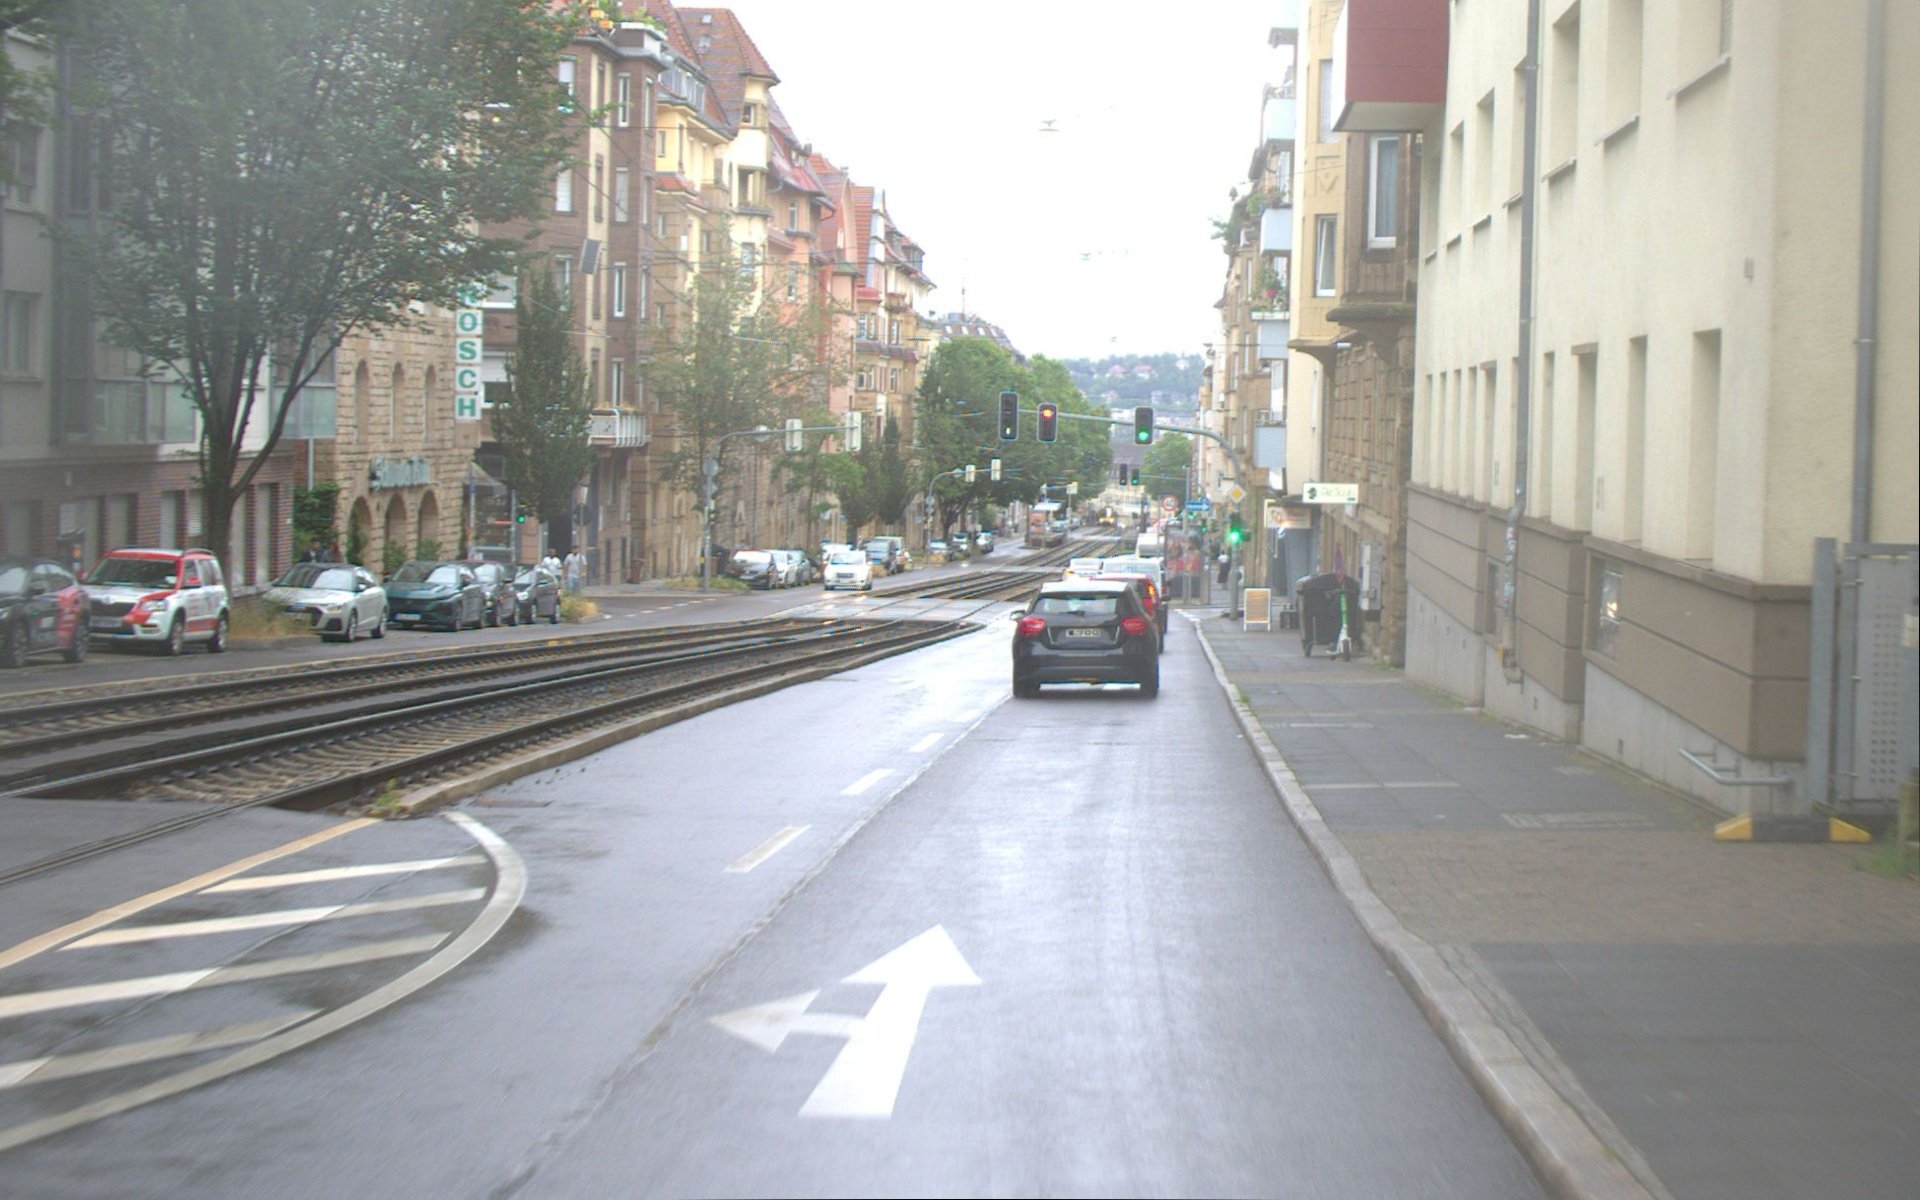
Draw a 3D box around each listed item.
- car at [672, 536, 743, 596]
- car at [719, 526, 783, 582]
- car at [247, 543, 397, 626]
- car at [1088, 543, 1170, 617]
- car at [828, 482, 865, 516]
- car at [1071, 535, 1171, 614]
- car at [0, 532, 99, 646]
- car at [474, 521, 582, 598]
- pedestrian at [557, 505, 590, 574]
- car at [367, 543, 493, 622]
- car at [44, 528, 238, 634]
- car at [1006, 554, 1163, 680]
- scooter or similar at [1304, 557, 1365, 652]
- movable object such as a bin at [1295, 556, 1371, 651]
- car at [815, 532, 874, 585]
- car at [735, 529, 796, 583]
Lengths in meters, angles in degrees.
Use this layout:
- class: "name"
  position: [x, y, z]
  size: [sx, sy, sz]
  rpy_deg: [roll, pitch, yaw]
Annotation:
- class: "car"
  position: [-8.710, -1.168, 118.985]
  size: [1.993, 2.007, 4.346]
  rpy_deg: [0, 0, 2]
- class: "car"
  position: [-7.824, -1.705, 128.977]
  size: [1.993, 2.007, 4.346]
  rpy_deg: [0, 0, 2]
- class: "car"
  position: [-11.874, -0.287, 64.221]
  size: [1.773, 1.483, 4.255]
  rpy_deg: [-1, 0, 3]
- class: "car"
  position: [4.293, -0.490, 87.801]
  size: [1.948, 1.787, 4.144]
  rpy_deg: [2, 0, 1]
- class: "car"
  position: [-6.967, -6.192, 211.882]
  size: [1.993, 2.007, 4.000]
  rpy_deg: [1, 1, 2]
- class: "car"
  position: [3.160, -0.488, 68.185]
  size: [1.852, 1.468, 4.000]
  rpy_deg: [2, 0, 1]
- class: "car"
  position: [-12.919, -0.137, 45.568]
  size: [1.773, 1.448, 4.255]
  rpy_deg: [-1, 0, 3]
- class: "car"
  position: [-10.421, -0.985, 83.229]
  size: [1.863, 1.809, 4.000]
  rpy_deg: [1, 1, 3]
- class: "pedestrian"
  position: [-11.394, -1.783, 101.396]
  size: [0.872, 2.007, 0.704]
  rpy_deg: [0, 0, 2]
- class: "car"
  position: [-11.201, -0.380, 72.882]
  size: [1.773, 1.614, 4.255]
  rpy_deg: [-1, 1, 3]
- class: "car"
  position: [-12.519, -0.303, 52.803]
  size: [1.773, 1.541, 4.255]
  rpy_deg: [-1, 1, 3]
- class: "car"
  position: [1.551, 0.179, 43.172]
  size: [1.852, 1.468, 4.000]
  rpy_deg: [1, 1, 2]
- class: "scooter or similar"
  position: [6.389, 0.076, 58.665]
  size: [0.918, 1.599, 0.862]
  rpy_deg: [1, 1, -1]
- class: "movable object such as a bin"
  position: [6.526, 0.052, 60.168]
  size: [1.168, 1.650, 1.309]
  rpy_deg: [0, 1, -1]
- class: "car"
  position: [-4.493, -1.635, 134.201]
  size: [1.993, 2.007, 4.346]
  rpy_deg: [1, 1, 2]
- class: "car"
  position: [-7.572, -1.688, 134.016]
  size: [1.993, 2.007, 4.346]
  rpy_deg: [0, 0, 2]
